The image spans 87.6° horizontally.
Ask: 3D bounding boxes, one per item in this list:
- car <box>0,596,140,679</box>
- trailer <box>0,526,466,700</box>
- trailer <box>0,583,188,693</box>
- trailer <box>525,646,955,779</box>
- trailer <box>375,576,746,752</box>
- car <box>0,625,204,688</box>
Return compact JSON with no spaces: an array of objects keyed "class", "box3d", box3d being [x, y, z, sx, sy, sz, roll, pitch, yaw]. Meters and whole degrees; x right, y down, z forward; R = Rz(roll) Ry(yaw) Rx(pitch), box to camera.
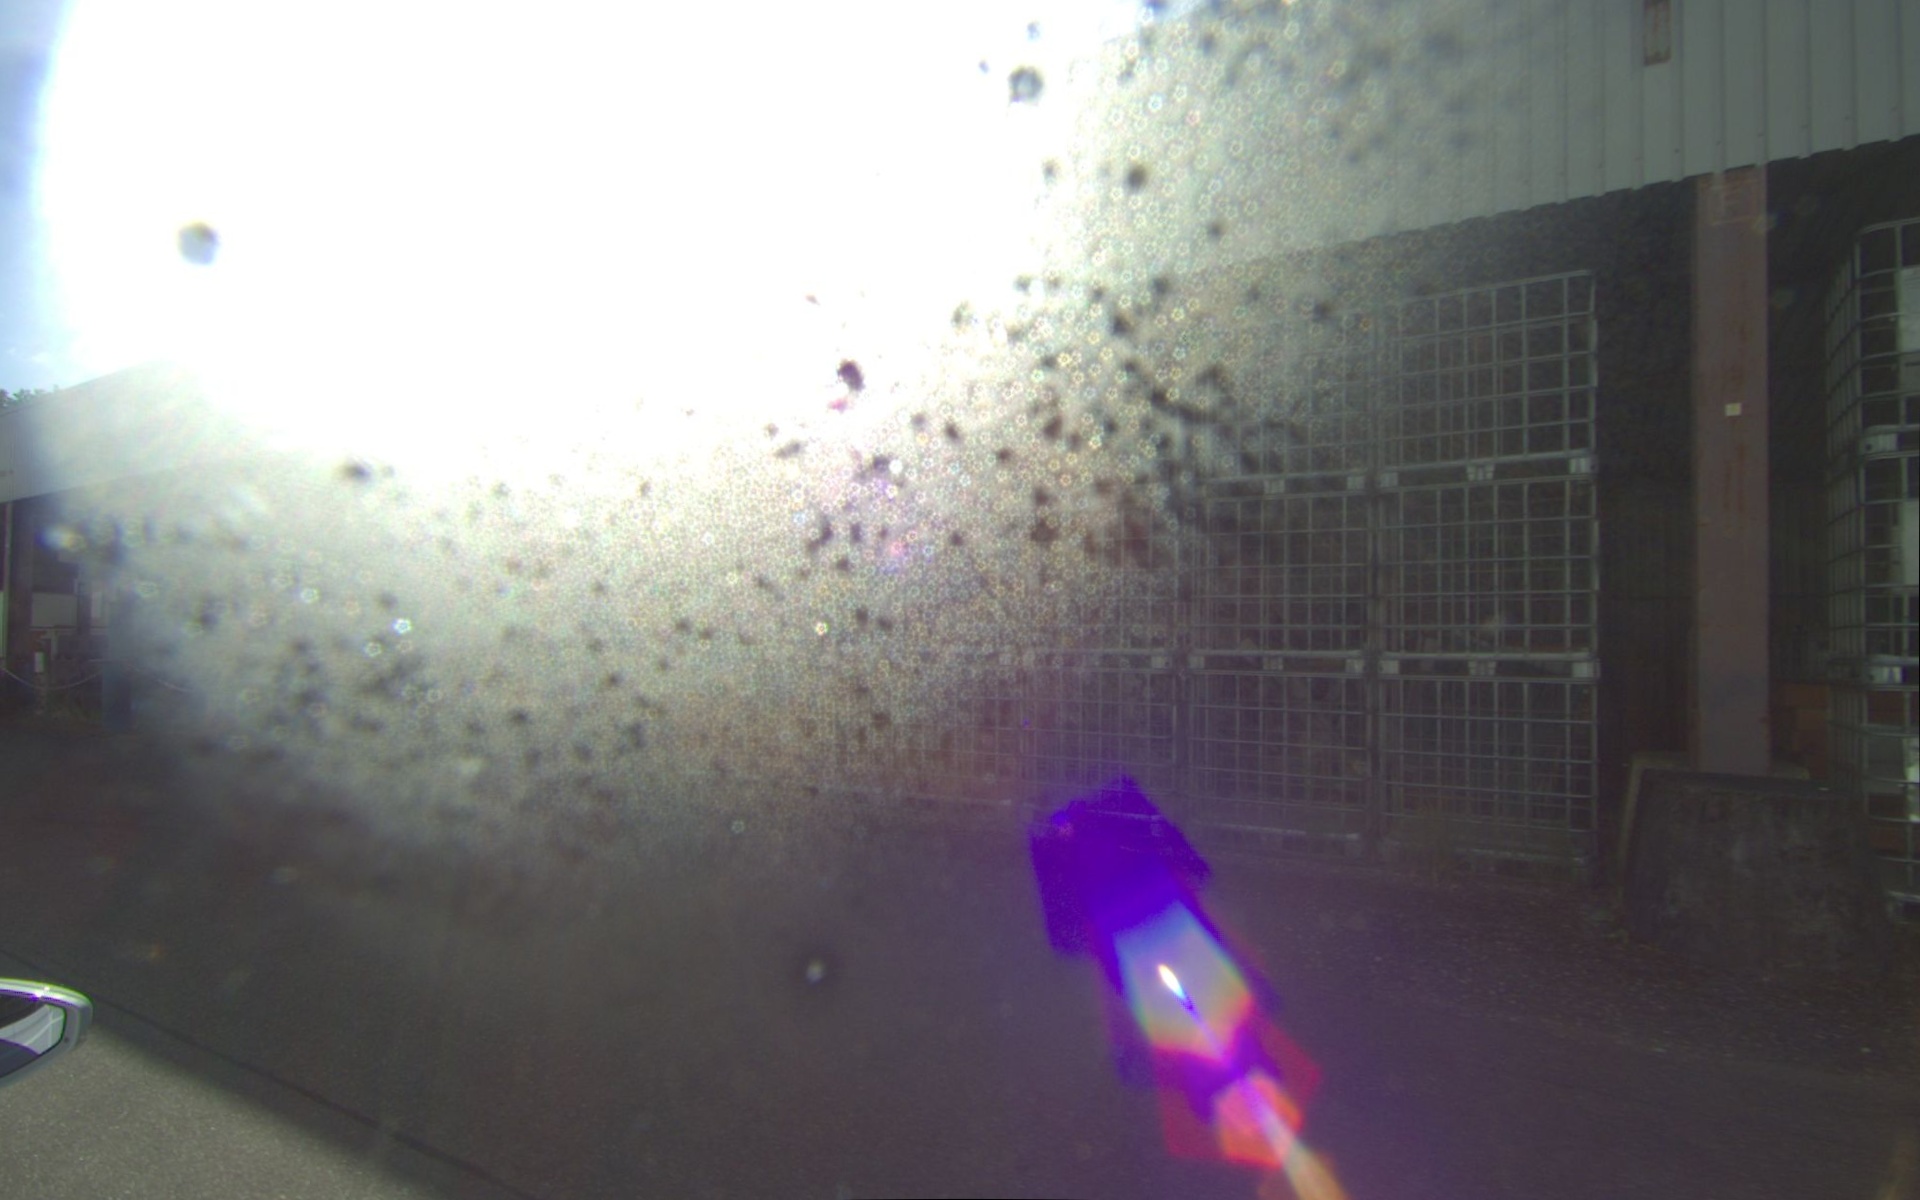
[{"class":"car","box3d":[-27.480,1.100,29.026,2.121,2.309,5.327,-1,-3,31]},{"class":"trailer","box3d":[-17.502,0.407,24.023,2.761,3.386,10.253,0,-2,32]},{"class":"trailer","box3d":[-20.927,0.865,23.115,2.018,2.372,4.508,-1,-2,32]},{"class":"trailer","box3d":[-2.340,1.218,12.586,1.945,1.200,5.722,-1,-2,30]},{"class":"trailer","box3d":[-5.343,0.822,13.980,2.133,2.015,4.415,-1,-2,33]},{"class":"car","box3d":[-22.307,1.423,25.697,1.841,1.490,4.247,0,-3,28]}]
